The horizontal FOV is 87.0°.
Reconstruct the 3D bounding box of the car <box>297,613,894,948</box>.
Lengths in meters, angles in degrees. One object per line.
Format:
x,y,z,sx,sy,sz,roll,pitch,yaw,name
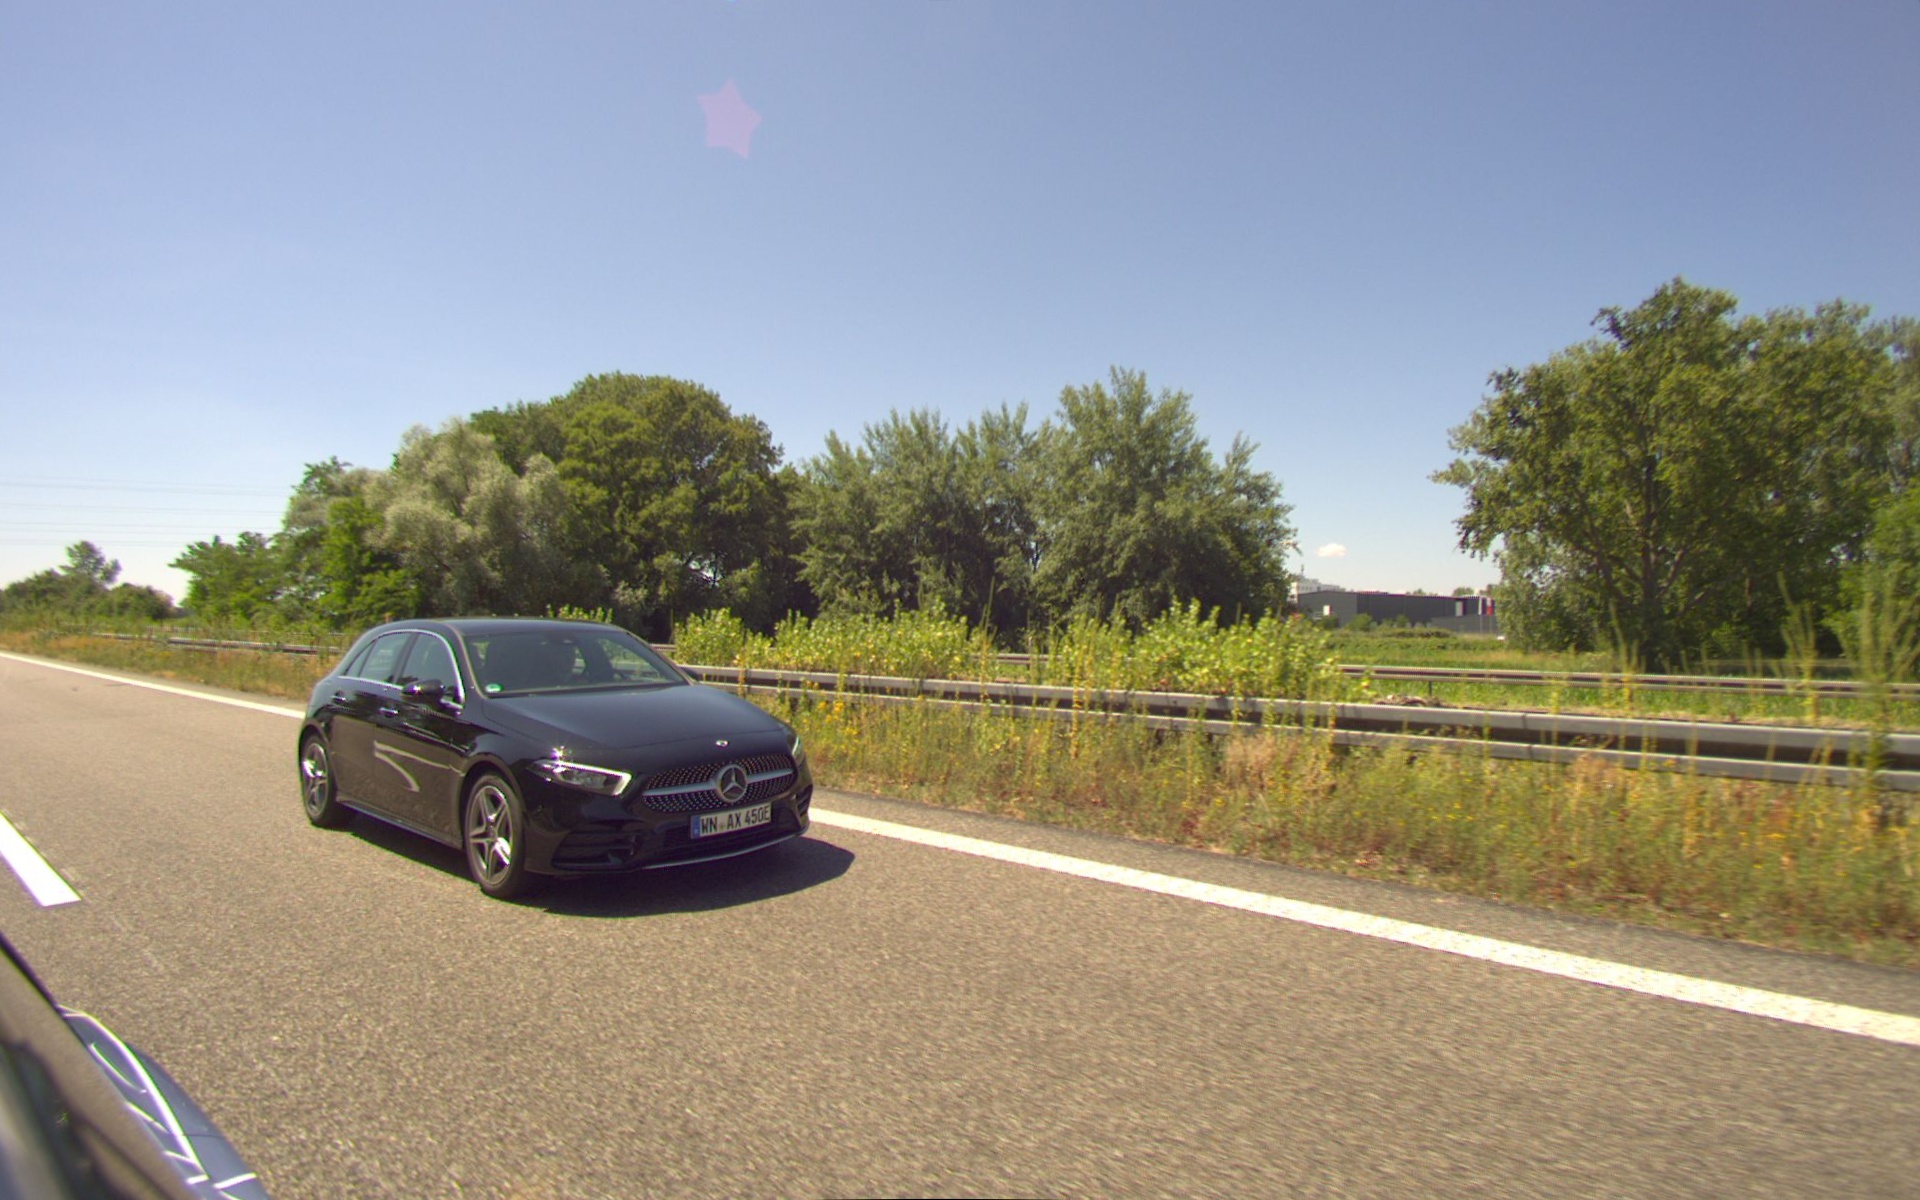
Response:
-2.466,0.824,6.329,4.050,1.422,1.773,-1,-2,41,car
